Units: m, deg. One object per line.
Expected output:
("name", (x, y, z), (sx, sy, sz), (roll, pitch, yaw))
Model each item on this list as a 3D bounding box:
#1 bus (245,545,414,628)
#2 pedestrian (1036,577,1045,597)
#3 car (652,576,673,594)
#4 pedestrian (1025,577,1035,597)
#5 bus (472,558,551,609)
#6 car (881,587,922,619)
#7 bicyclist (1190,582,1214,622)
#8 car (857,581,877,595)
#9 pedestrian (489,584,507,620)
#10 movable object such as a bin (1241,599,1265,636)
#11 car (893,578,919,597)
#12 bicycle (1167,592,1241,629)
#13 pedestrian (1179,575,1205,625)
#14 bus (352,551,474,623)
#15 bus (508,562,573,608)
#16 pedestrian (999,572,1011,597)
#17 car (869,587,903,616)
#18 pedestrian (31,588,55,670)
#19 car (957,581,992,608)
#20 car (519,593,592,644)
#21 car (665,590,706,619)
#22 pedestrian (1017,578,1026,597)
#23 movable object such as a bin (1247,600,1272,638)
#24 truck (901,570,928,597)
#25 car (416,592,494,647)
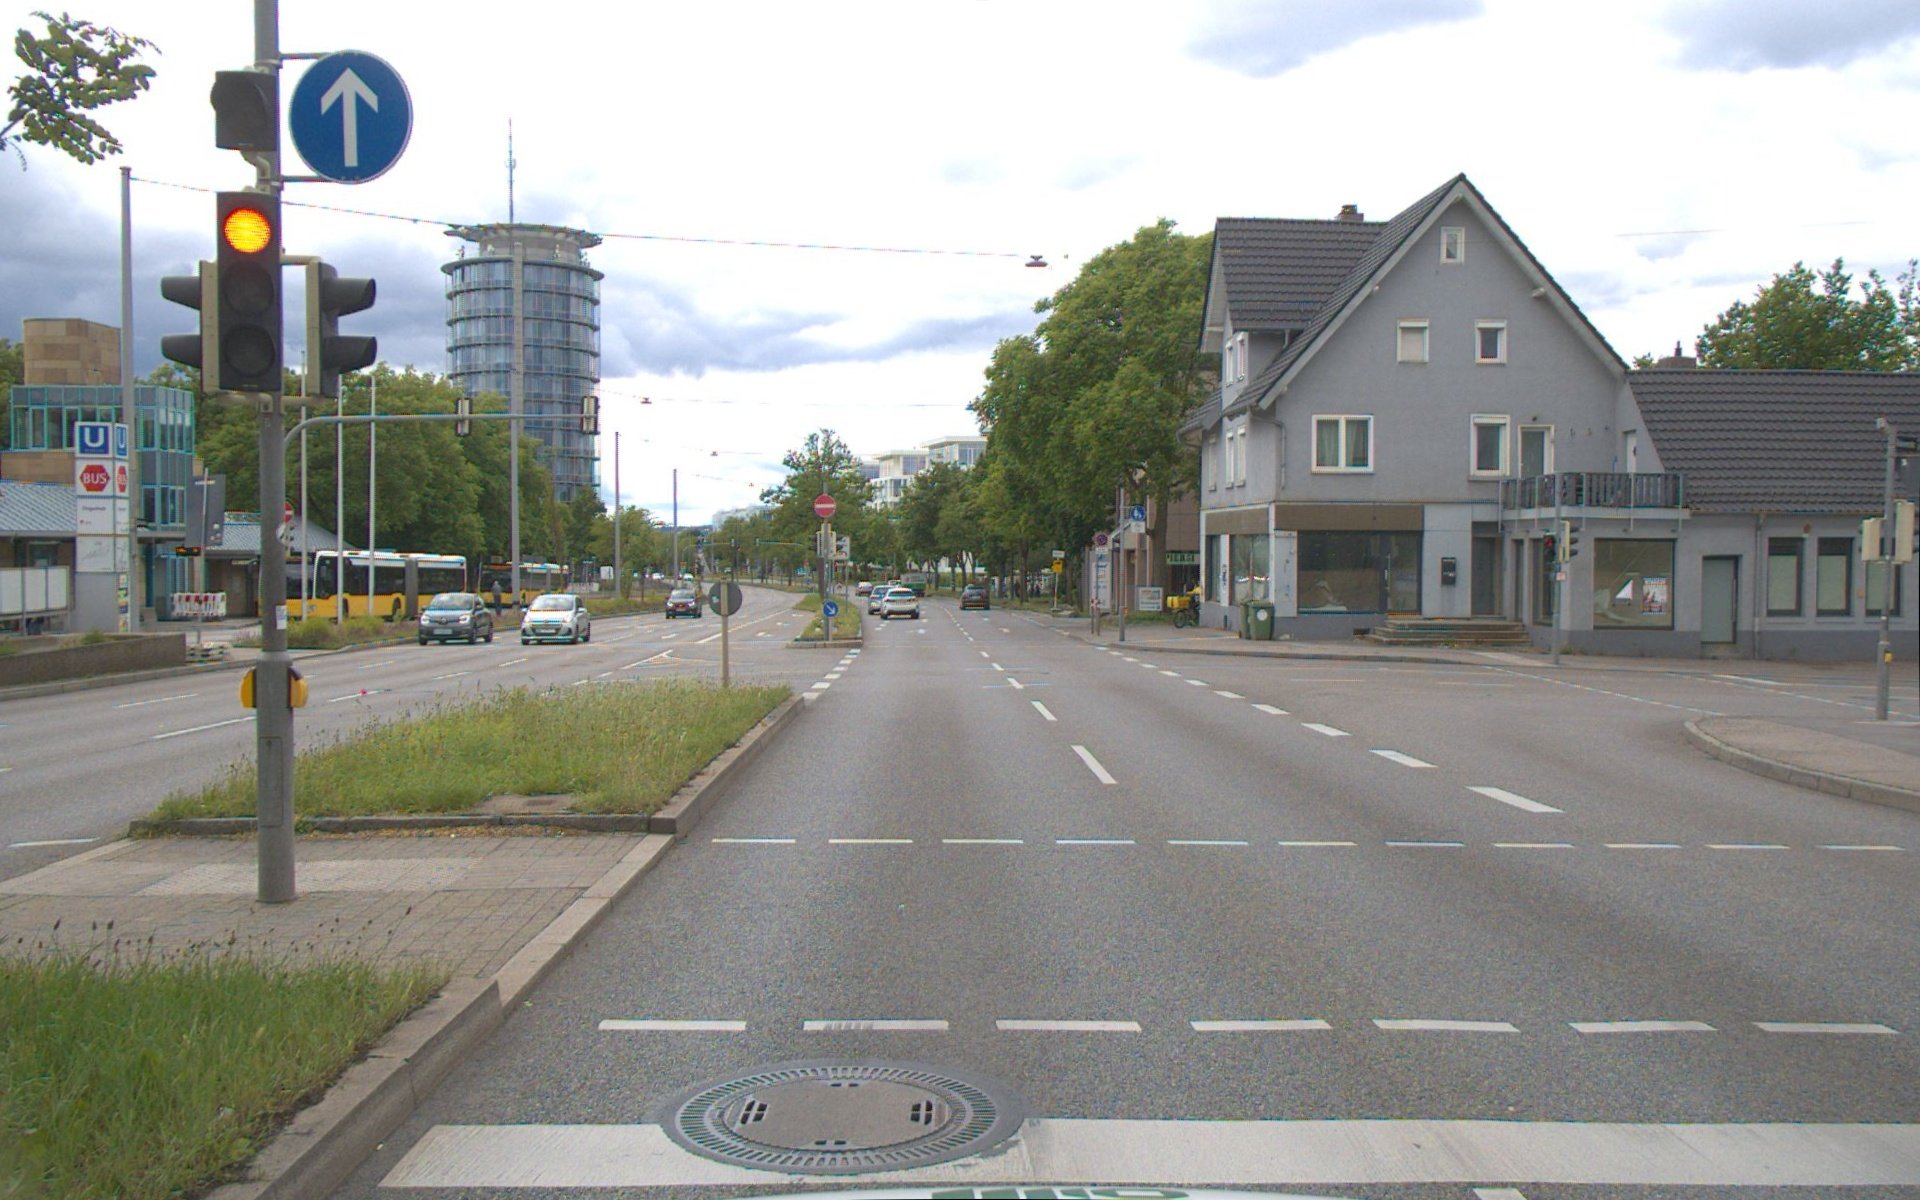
("bus", (-27.084, -0.558, 71.683), (2.927, 3.307, 10.174), (-1, 0, 3))
("pedestrian", (6.559, -1.037, 134.435), (0.638, 1.597, 0.669), (0, 0, -9))
("car", (-35.910, -1.822, 199.732), (1.925, 2.049, 3.999), (1, 0, -1))
("pedestrian", (5.709, -1.028, 134.617), (0.638, 1.597, 0.669), (0, 0, -9))
("bus", (-30.787, -1.113, 114.001), (3.082, 3.281, 10.279), (0, 0, -3))
("car", (-2.850, 0.139, 81.264), (1.953, 1.503, 4.255), (-1, 0, -1))
("bicyclist", (8.325, 0.065, 56.885), (0.613, 1.380, 1.077), (-1, 0, -3))
("car", (-9.723, -1.253, 173.013), (1.929, 1.444, 4.017), (0, 0, -6))
("pedestrian", (-25.066, 0.113, 89.718), (0.674, 1.930, 0.659), (-1, 0, 43))
("movable object such as a bin", (7.966, 0.476, 44.942), (0.518, 0.997, 0.736), (0, 0, -1))
("car", (-5.405, -1.237, 164.993), (2.207, 1.787, 4.927), (0, 0, -5))
("bicycle", (8.384, 0.366, 56.893), (2.382, 1.239, 1.077), (-1, 0, -3))
("pedestrian", (8.521, 0.001, 60.794), (0.692, 1.811, 0.869), (-1, 0, 29))
("bus", (-26.547, -0.610, 80.708), (2.927, 3.327, 7.879), (-1, 0, 3))
("bus", (-31.149, -1.128, 123.000), (3.081, 3.281, 7.762), (0, 0, -2))
("pedestrian", (3.816, -1.325, 139.641), (0.951, 2.049, 0.981), (1, -1, -2))
("car", (-4.161, 0.085, 92.357), (1.786, 1.567, 4.111), (-1, 0, -3))
("pedestrian", (-18.383, 0.580, 33.154), (0.414, 1.619, 0.353), (0, 0, -30))
("car", (0.888, -0.302, 101.511), (1.852, 1.521, 4.095), (-2, -1, -3))
("car", (-12.366, 0.551, 50.716), (1.651, 1.488, 3.552), (0, 0, -5))
("car", (-14.697, 0.236, 88.586), (1.668, 1.518, 3.561), (-1, 0, -2))
("pedestrian", (4.980, -1.014, 134.610), (0.638, 1.597, 0.669), (0, 0, -9))
("movable object such as a bin", (7.996, 0.497, 44.152), (0.518, 0.997, 0.736), (0, 0, -1))
("truck", (-4.351, -1.529, 156.416), (2.207, 2.459, 4.927), (0, 0, -5))
("car", (-15.475, 0.566, 50.804), (1.652, 1.606, 3.344), (0, 0, -6))
